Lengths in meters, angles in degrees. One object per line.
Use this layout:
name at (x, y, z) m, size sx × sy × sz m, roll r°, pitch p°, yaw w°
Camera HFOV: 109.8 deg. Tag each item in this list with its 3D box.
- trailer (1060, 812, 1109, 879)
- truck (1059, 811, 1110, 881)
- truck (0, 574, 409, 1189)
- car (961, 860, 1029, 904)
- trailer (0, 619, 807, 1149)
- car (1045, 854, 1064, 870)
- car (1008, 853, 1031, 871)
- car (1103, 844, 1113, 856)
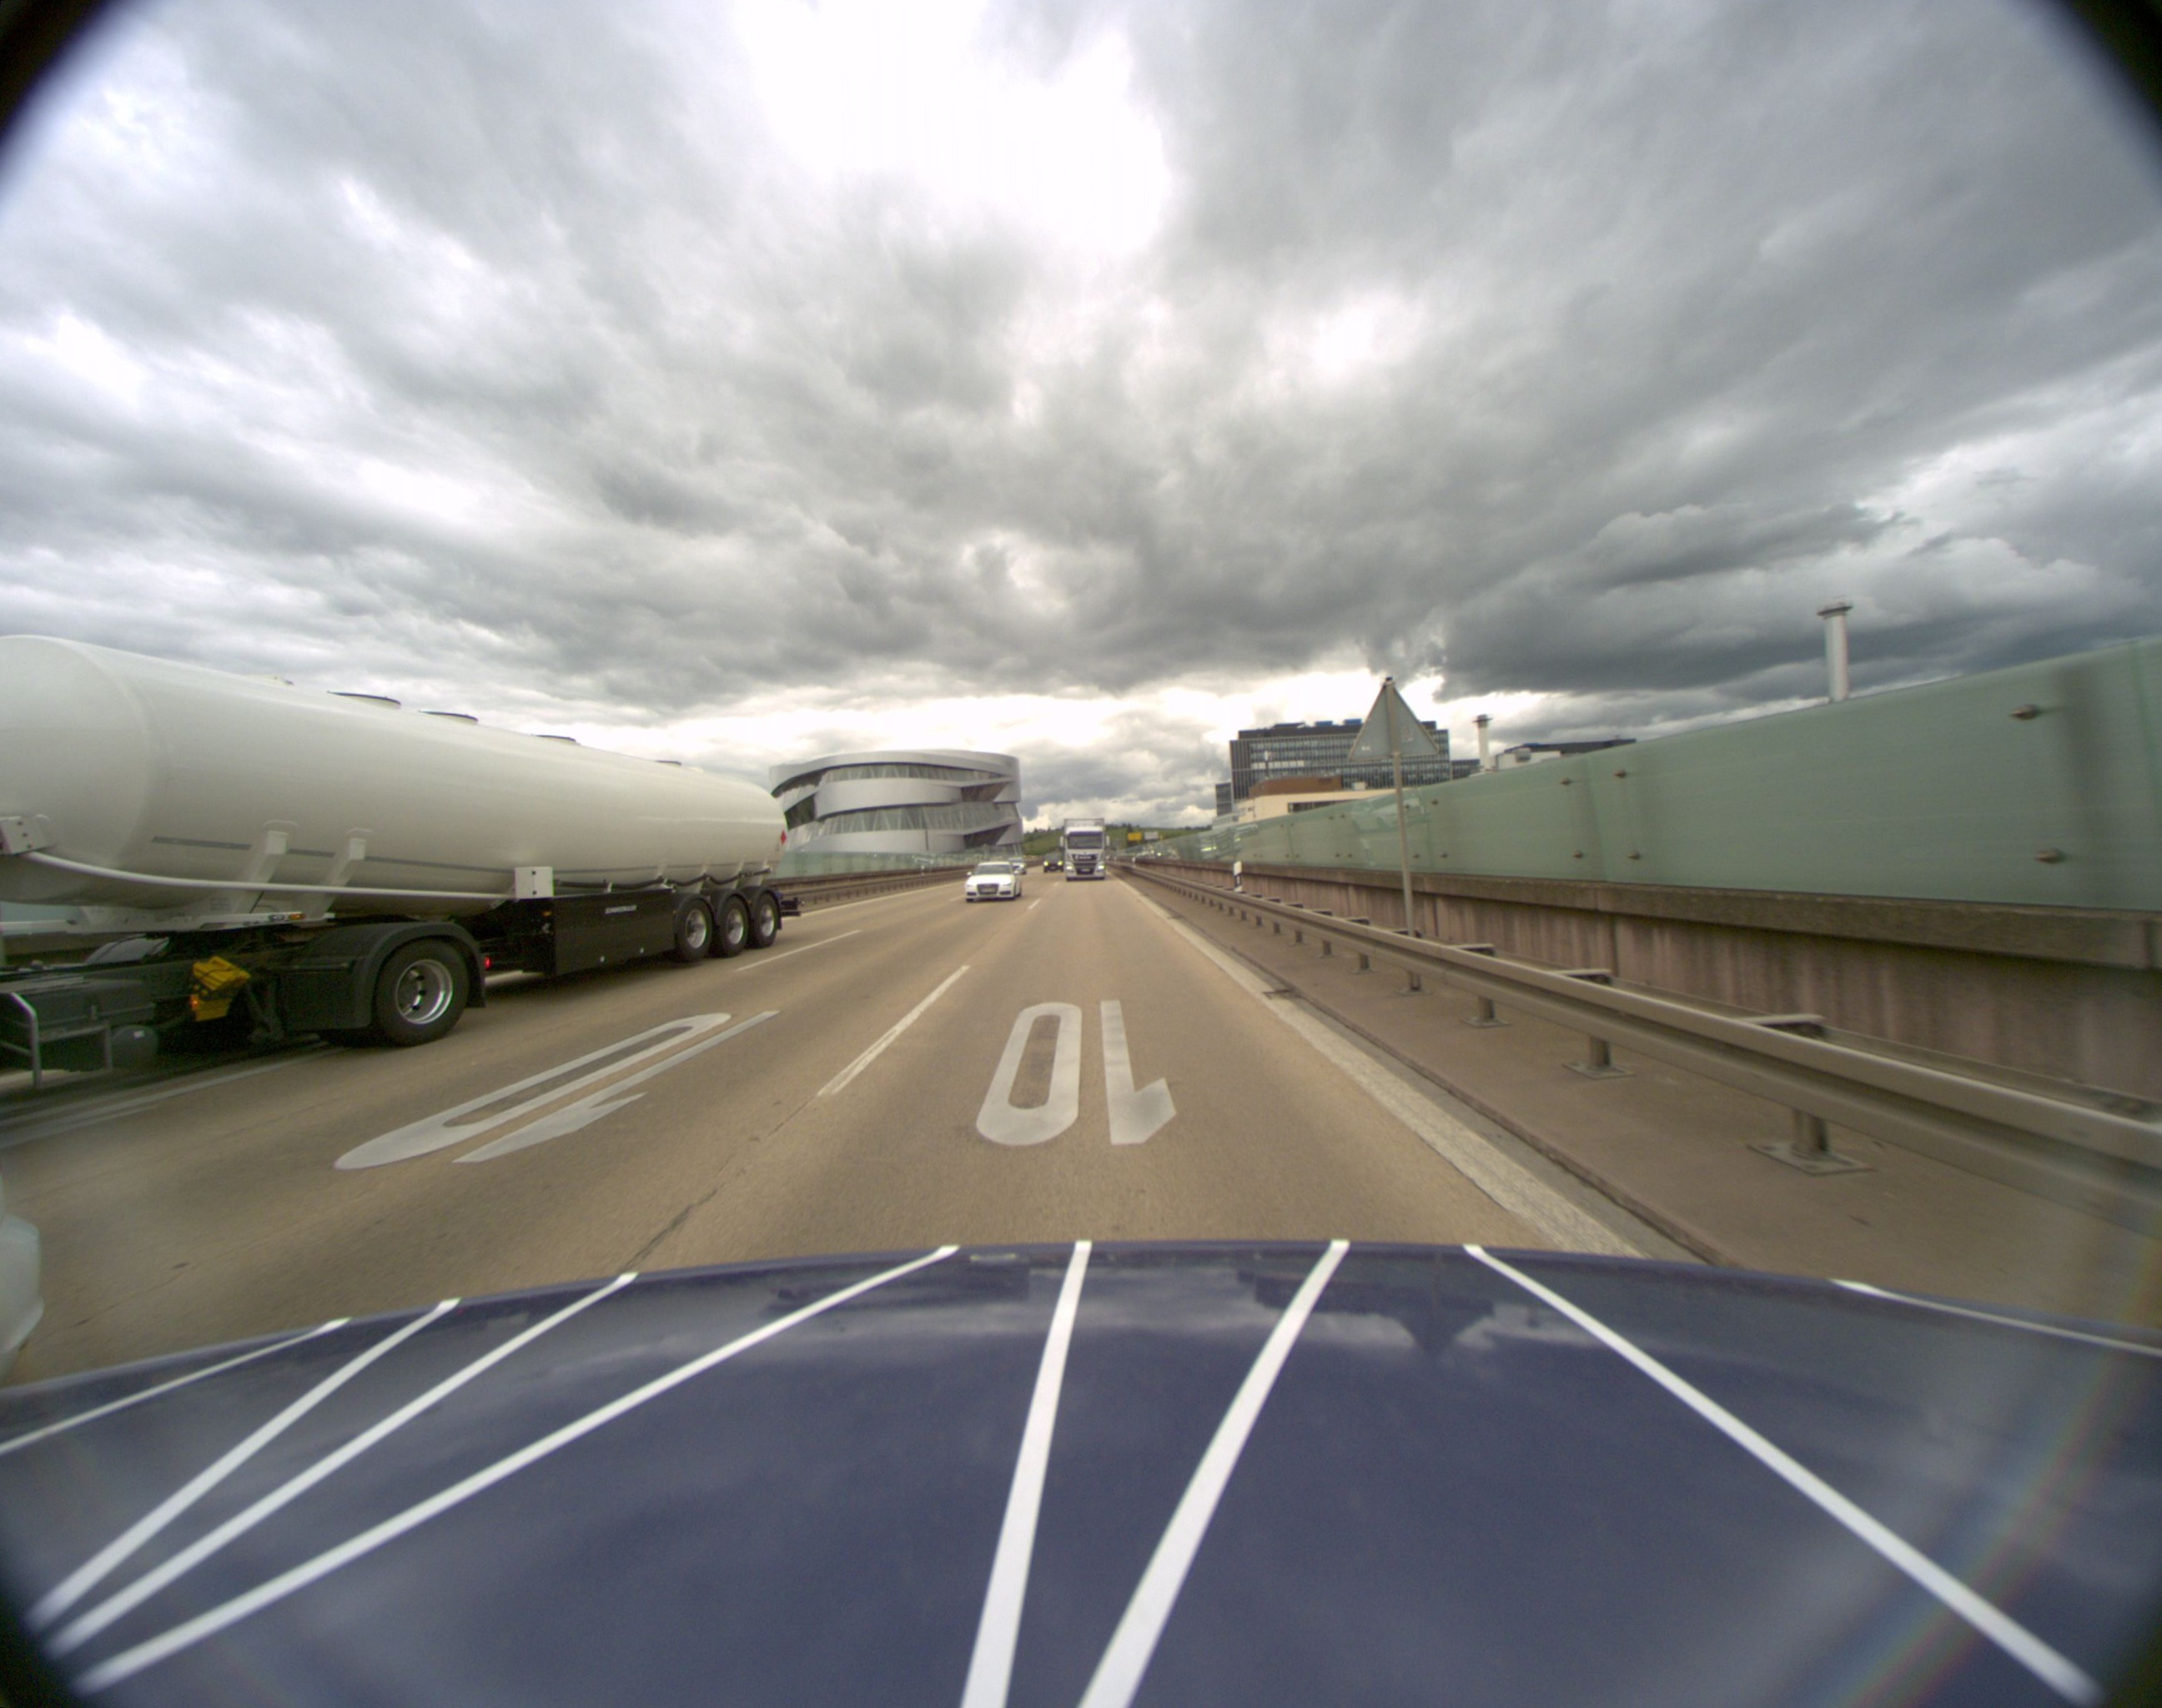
trailer at (0.321, -0.561, 53.066) m, size 2.880 × 4.104 × 11.220 m, roll -2°, pitch 0°, yaw 1°
truck at (0.288, -0.501, 48.858) m, size 2.946 × 4.136 × 6.291 m, roll -2°, pitch 0°, yaw 1°
truck at (-7.462, 0.187, 4.357) m, size 2.637 × 3.494 × 4.903 m, roll -2°, pitch 1°, yaw 1°
car at (-3.162, 0.984, 28.576) m, size 1.848 × 1.443 × 3.933 m, roll -2°, pitch 0°, yaw 3°
trailer at (-7.374, 0.198, 10.716) m, size 2.657 × 3.523 × 11.219 m, roll -2°, pitch 0°, yaw 1°
car at (-2.752, 0.818, 79.185) m, size 1.765 × 1.624 × 3.627 m, roll -2°, pitch 0°, yaw 2°
car at (-5.860, 0.735, 73.092) m, size 1.785 × 1.624 × 3.627 m, roll -2°, pitch 0°, yaw 2°
car at (5.989, -0.887, 171.321) m, size 2.144 × 2.494 × 4.524 m, roll -2°, pitch 1°, yaw 1°
